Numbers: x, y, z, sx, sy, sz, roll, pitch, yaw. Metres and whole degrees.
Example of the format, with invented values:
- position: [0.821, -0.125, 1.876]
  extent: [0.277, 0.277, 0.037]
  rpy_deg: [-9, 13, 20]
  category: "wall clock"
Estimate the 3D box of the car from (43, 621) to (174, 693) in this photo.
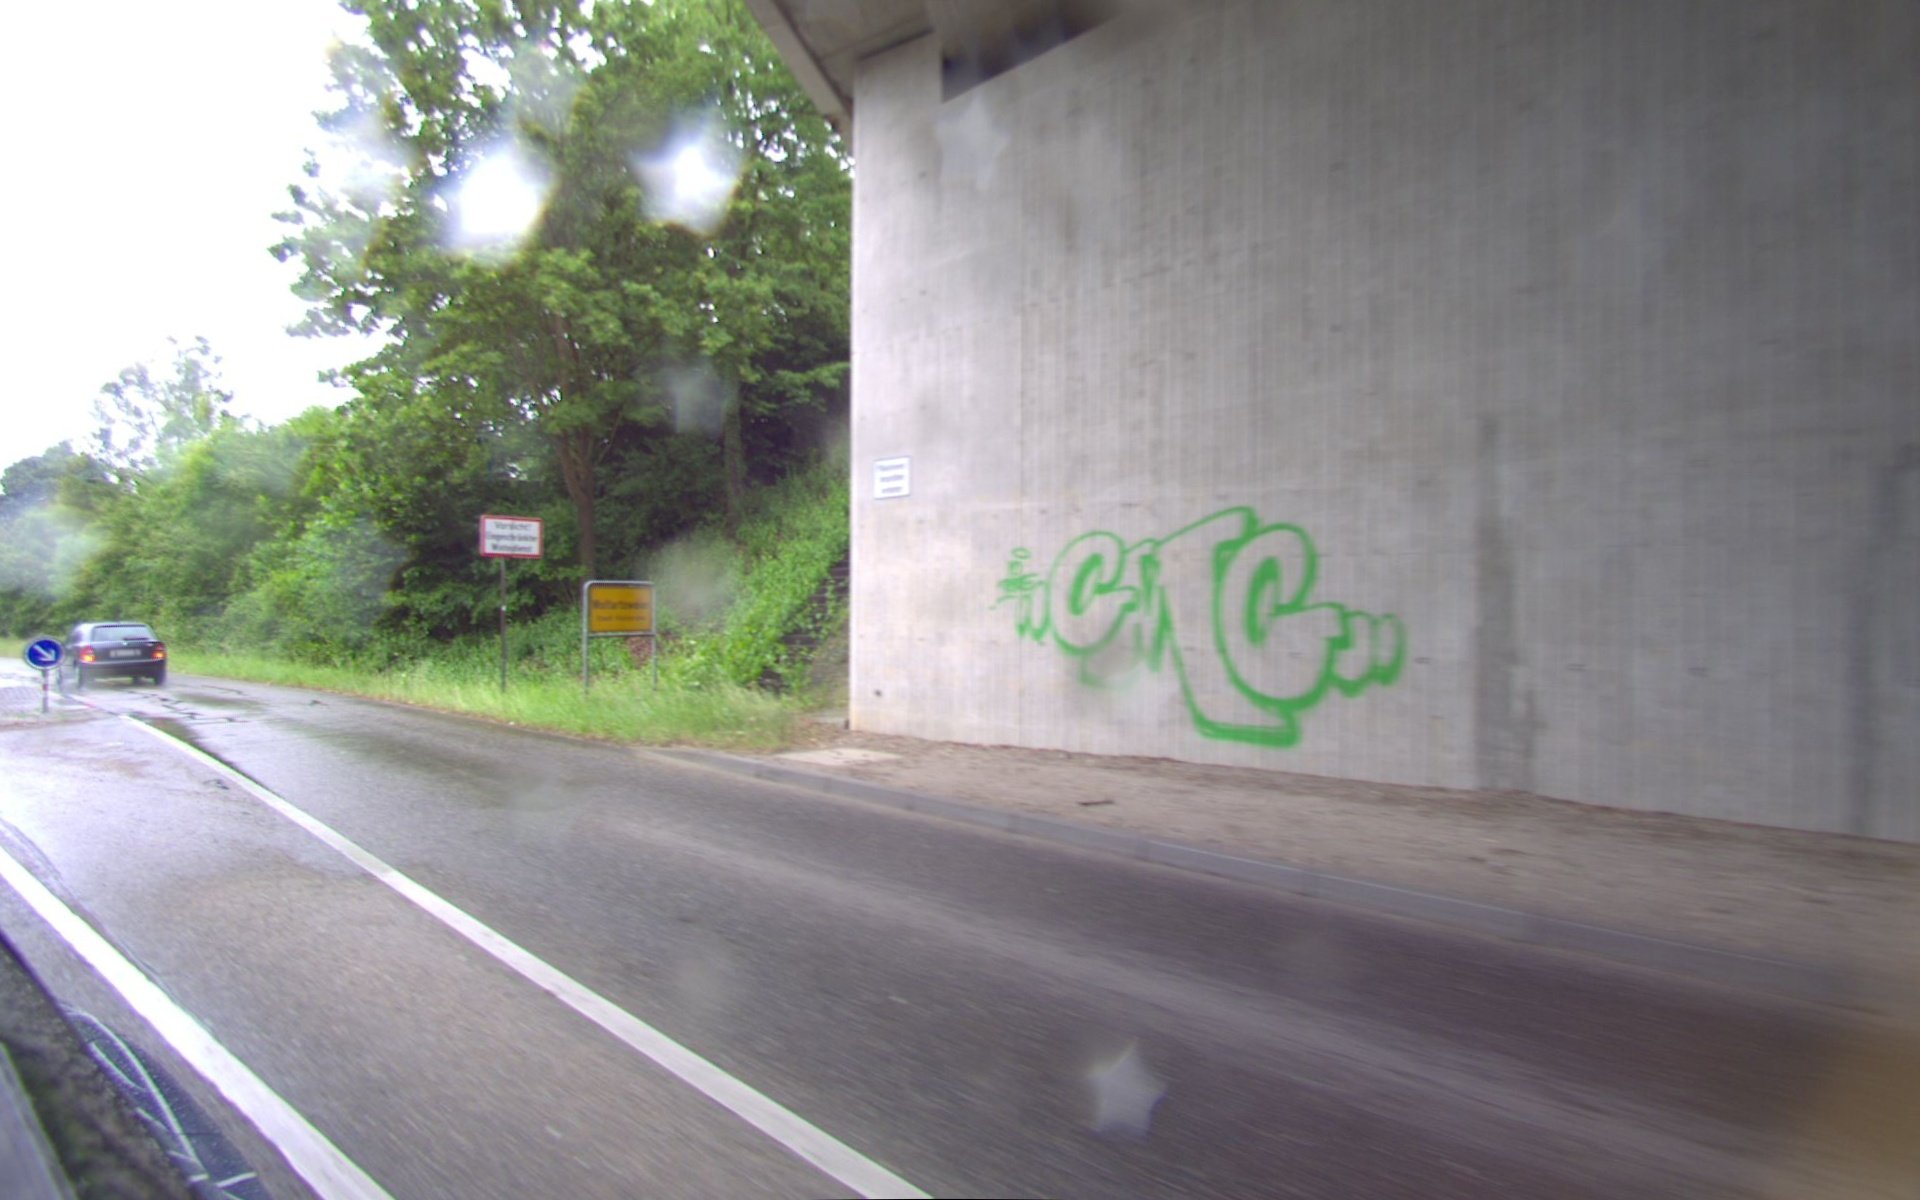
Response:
- position: [-19.894, 1.269, 23.598]
  extent: [4.069, 1.498, 1.673]
  rpy_deg: [-1, 0, 40]
  category: "car"
